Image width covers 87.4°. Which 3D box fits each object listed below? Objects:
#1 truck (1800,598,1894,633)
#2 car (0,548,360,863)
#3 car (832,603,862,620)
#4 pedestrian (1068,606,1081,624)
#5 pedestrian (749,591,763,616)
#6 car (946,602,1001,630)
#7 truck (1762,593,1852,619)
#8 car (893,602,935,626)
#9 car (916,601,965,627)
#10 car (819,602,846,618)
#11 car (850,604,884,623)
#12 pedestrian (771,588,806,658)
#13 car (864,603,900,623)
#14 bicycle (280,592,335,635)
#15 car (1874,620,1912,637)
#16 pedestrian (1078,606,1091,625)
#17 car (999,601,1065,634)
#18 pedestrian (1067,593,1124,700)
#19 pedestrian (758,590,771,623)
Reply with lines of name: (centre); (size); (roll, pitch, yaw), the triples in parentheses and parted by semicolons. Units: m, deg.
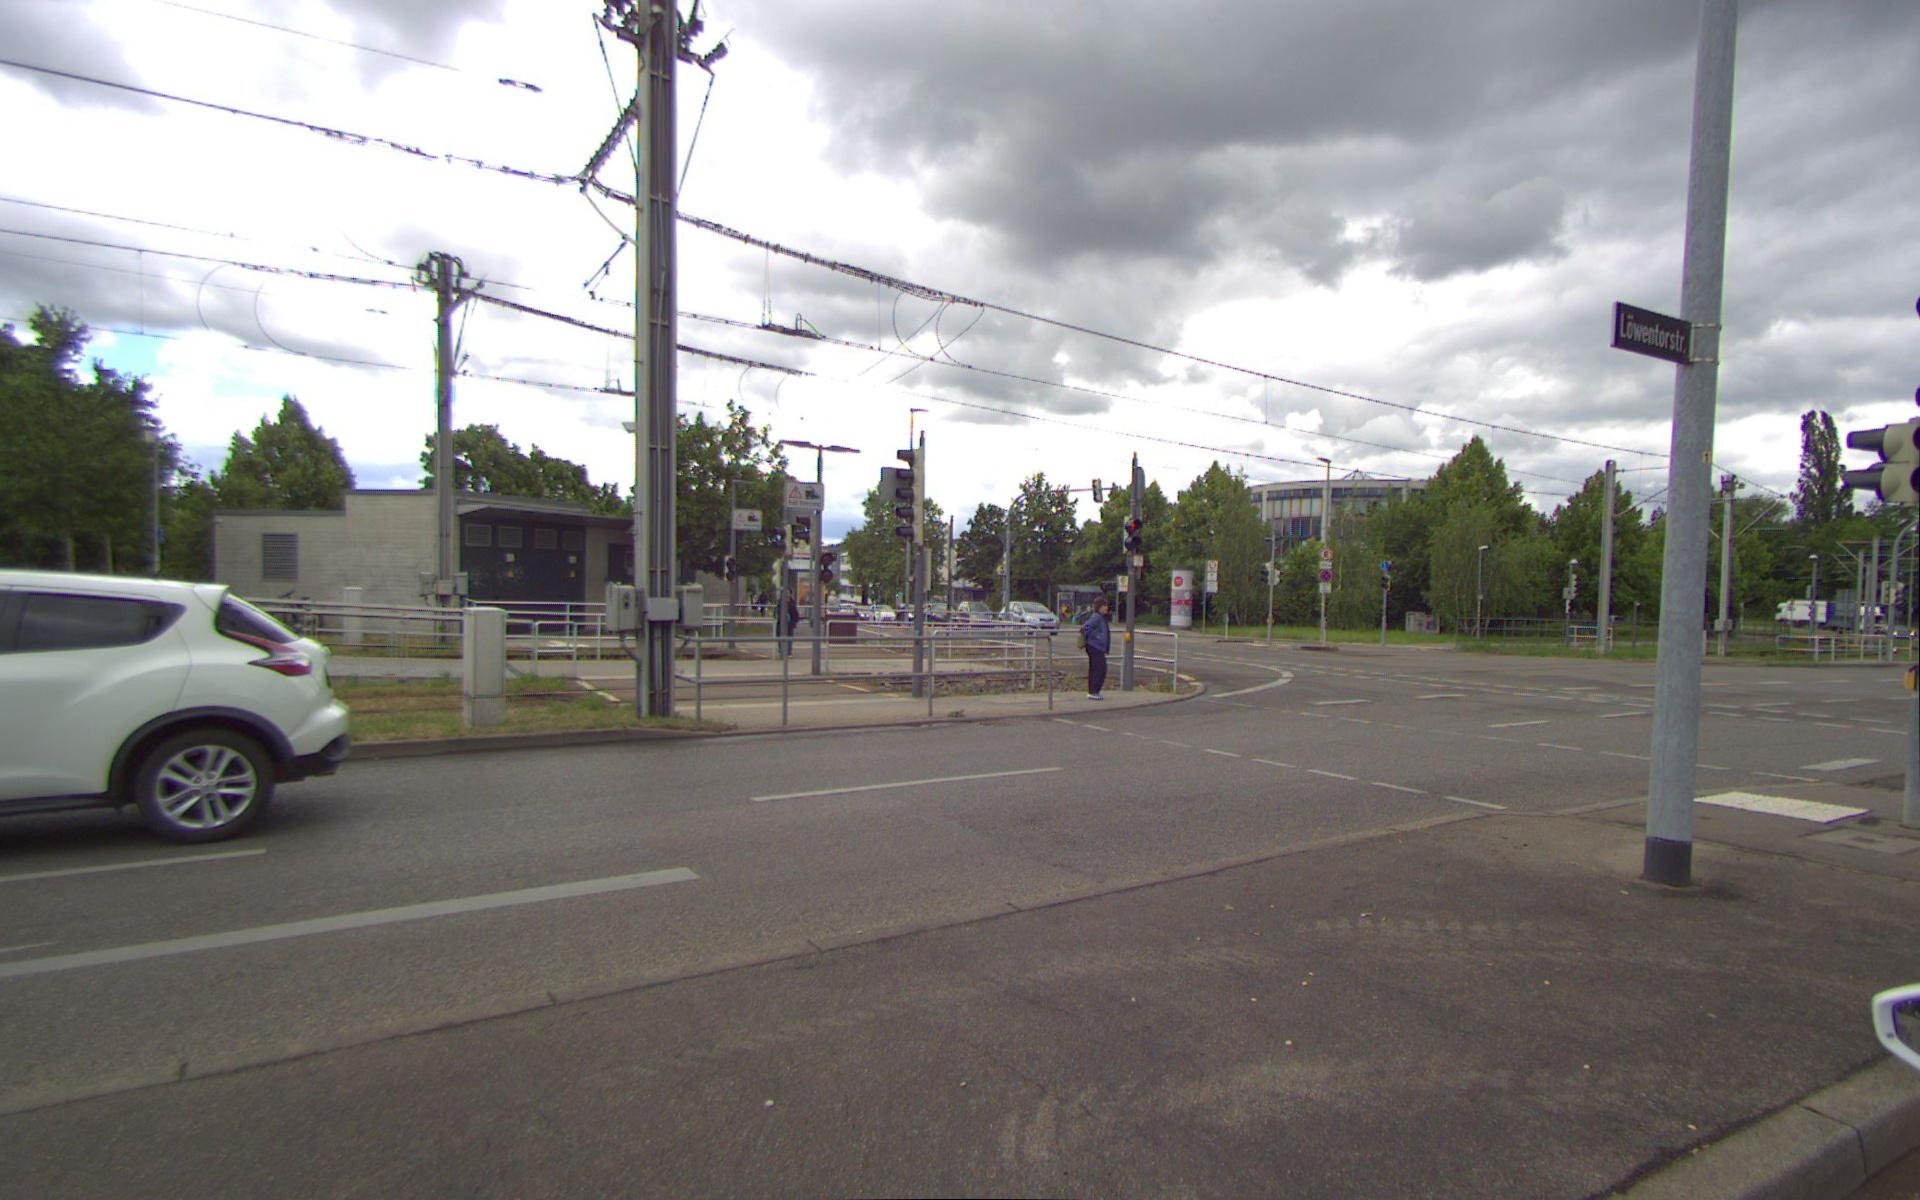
truck: (104.208, 1.831, 118.394); (2.997, 3.810, 12.818); (2, 0, 16)
car: (-6.006, 0.543, 5.685); (4.381, 1.650, 1.817); (1, -1, -35)
car: (-9.773, 0.986, 86.710); (1.706, 1.456, 3.731); (1, 0, -20)
pedestrian: (8.299, 1.078, 72.949); (0.652, 1.321, 0.780); (1, 0, -16)
pedestrian: (-13.639, 0.216, 67.208); (0.771, 1.649, 0.660); (1, 0, -22)
car: (0.689, 0.842, 53.664); (1.706, 1.456, 3.731); (1, 0, -20)
truck: (115.826, 0.727, 137.707); (2.694, 3.373, 11.406); (1, 0, 0)
car: (-3.005, 0.887, 64.926); (1.706, 1.456, 3.731); (1, 0, -20)
car: (-1.151, 0.815, 58.160); (1.706, 1.456, 3.731); (1, 0, -20)
car: (-11.936, 0.961, 94.066); (1.706, 1.456, 3.731); (1, 0, -20)
car: (-7.421, 1.022, 79.679); (1.706, 1.456, 3.991); (1, 0, -20)
pedestrian: (-4.056, 0.528, 23.742); (0.695, 1.628, 0.655); (1, 0, -19)
car: (-5.815, 0.961, 74.776); (1.706, 1.456, 3.731); (1, 0, -20)
bicycle: (-17.325, 0.344, 26.671); (1.452, 1.101, 0.492); (1, 0, 22)
car: (93.117, 2.812, 100.281); (1.754, 1.465, 4.519); (-1, 0, 29)
pedestrian: (8.848, 1.114, 71.620); (0.652, 1.322, 0.780); (1, 0, -16)
car: (3.302, 0.798, 46.805); (1.706, 1.456, 3.731); (1, 0, -20)
pedestrian: (2.085, 0.700, 15.434); (0.701, 1.584, 0.533); (1, 1, -44)
pedestrian: (-12.051, 0.420, 62.006); (0.738, 1.993, 0.795); (1, 0, -9)
